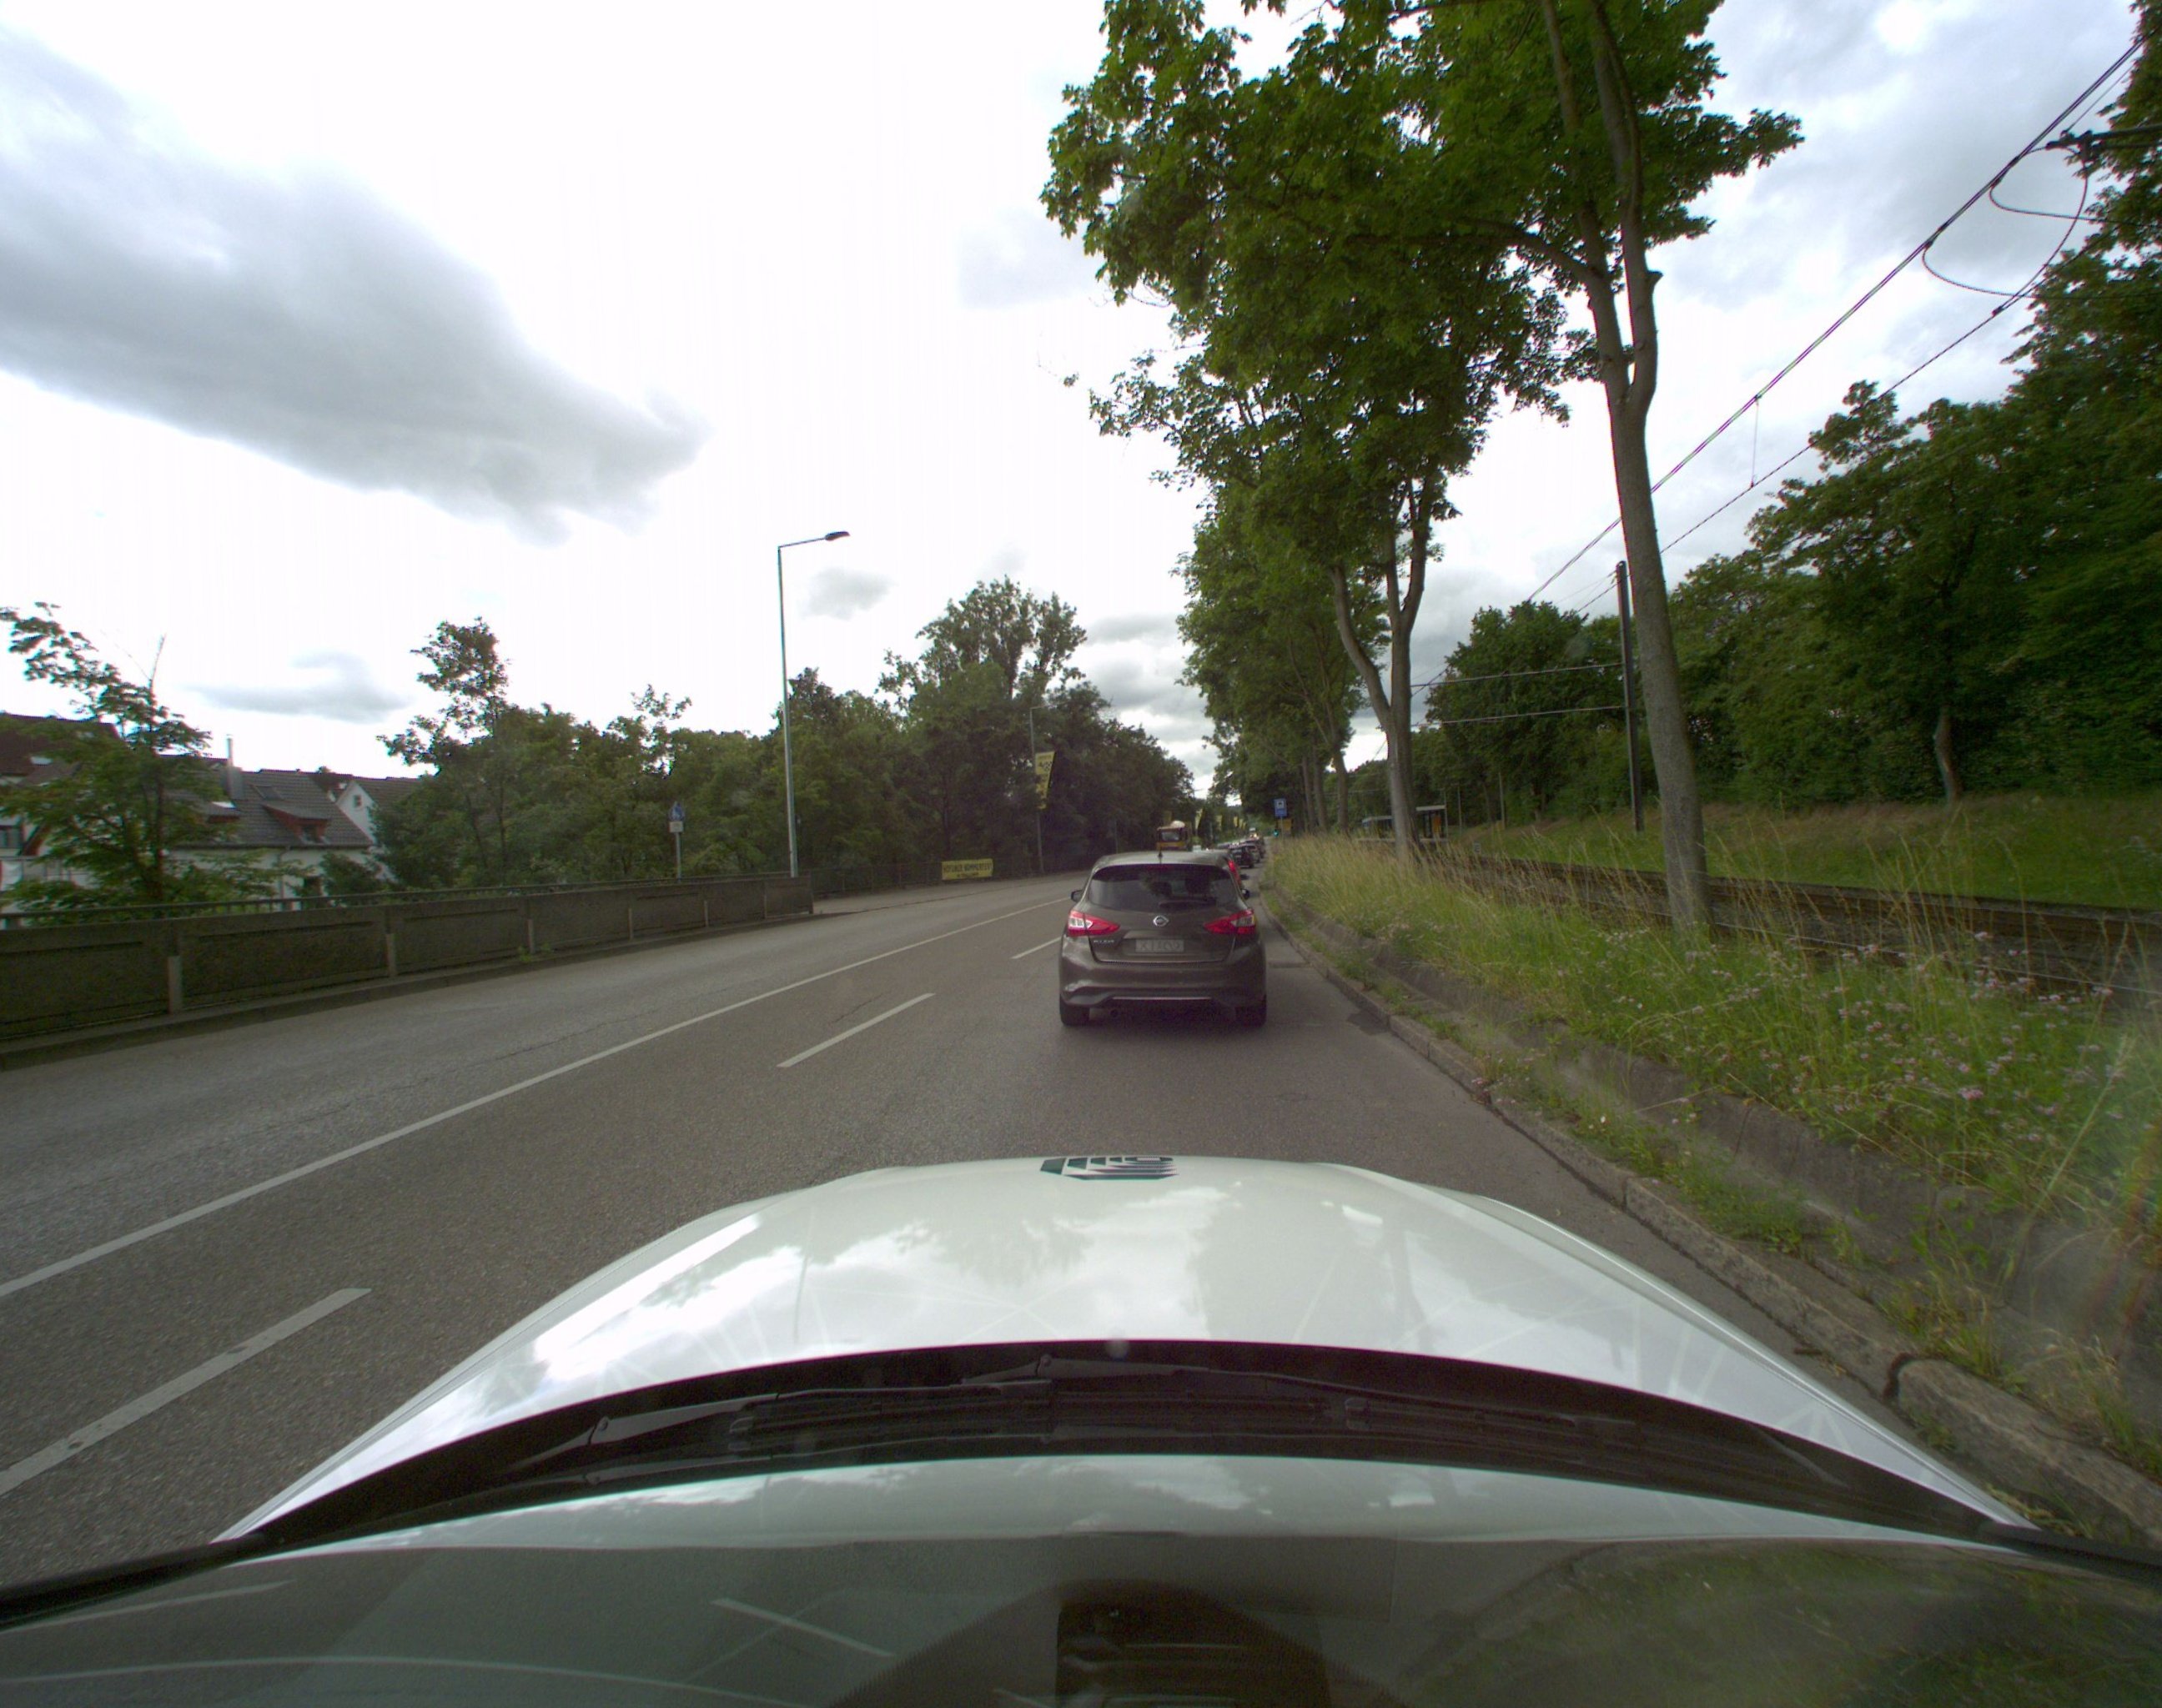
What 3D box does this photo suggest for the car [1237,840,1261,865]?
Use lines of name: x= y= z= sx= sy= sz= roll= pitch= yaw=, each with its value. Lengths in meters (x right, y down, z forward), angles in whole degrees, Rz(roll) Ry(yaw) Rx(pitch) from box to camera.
car: x=12.900 y=-0.101 z=62.411 sx=1.706 sy=1.693 sz=4.013 roll=-3 pitch=-2 yaw=12

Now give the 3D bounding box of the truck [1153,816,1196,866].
truck: x=8.315 y=-1.083 z=71.201 sx=2.637 sy=3.938 sz=10.144 roll=-2 pitch=0 yaw=12

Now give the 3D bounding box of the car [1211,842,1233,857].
car: x=14.696 y=-0.450 z=84.586 sx=1.838 sy=1.486 sz=4.438 roll=-3 pitch=-1 yaw=14

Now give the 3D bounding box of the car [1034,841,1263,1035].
car: x=0.785 y=0.686 z=8.366 sx=1.765 sy=1.494 sz=4.008 roll=-1 pitch=-1 yaw=8

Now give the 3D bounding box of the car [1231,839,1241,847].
car: x=31.798 y=-2.317 z=166.939 sx=1.740 sy=1.420 sz=4.013 roll=-3 pitch=-2 yaw=12

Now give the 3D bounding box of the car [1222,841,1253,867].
car: x=9.769 y=0.040 z=51.021 sx=1.793 sy=1.540 sz=4.011 roll=-1 pitch=-1 yaw=10

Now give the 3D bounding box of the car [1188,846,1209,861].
car: x=12.326 y=-0.071 z=85.248 sx=1.755 sy=1.479 sz=4.014 roll=-2 pitch=0 yaw=12

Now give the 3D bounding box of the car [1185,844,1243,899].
car: x=4.206 y=0.523 z=25.703 sx=1.568 sy=1.538 sz=4.010 roll=-3 pitch=-1 yaw=9

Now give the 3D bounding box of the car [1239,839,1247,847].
car: x=39.718 y=-2.706 z=199.533 sx=1.706 sy=1.693 sz=3.738 roll=-3 pitch=-2 yaw=12

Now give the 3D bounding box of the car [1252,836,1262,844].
car: x=35.718 y=-2.804 z=165.044 sx=1.877 sy=1.653 sz=4.015 roll=-2 pitch=0 yaw=14

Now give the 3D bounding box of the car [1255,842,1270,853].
car: x=24.731 y=-0.921 z=110.830 sx=1.877 sy=1.445 sz=3.821 roll=-2 pitch=0 yaw=14

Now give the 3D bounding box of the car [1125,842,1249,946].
car: x=1.889 y=0.661 z=14.781 sx=1.883 sy=1.574 sz=4.007 roll=-2 pitch=-1 yaw=6

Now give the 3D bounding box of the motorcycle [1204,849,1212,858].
motorcycle: x=15.621 y=-0.016 z=99.977 sx=0.739 sy=1.033 sz=1.896 roll=-2 pitch=0 yaw=15

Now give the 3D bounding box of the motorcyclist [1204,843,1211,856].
motorcyclist: x=15.595 y=-0.517 z=100.071 sx=0.739 sy=1.539 sz=0.794 roll=-2 pitch=0 yaw=14

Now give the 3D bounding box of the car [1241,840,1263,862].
car: x=16.337 y=-0.306 z=77.749 sx=1.877 sy=2.013 sz=4.015 roll=-2 pitch=0 yaw=14
